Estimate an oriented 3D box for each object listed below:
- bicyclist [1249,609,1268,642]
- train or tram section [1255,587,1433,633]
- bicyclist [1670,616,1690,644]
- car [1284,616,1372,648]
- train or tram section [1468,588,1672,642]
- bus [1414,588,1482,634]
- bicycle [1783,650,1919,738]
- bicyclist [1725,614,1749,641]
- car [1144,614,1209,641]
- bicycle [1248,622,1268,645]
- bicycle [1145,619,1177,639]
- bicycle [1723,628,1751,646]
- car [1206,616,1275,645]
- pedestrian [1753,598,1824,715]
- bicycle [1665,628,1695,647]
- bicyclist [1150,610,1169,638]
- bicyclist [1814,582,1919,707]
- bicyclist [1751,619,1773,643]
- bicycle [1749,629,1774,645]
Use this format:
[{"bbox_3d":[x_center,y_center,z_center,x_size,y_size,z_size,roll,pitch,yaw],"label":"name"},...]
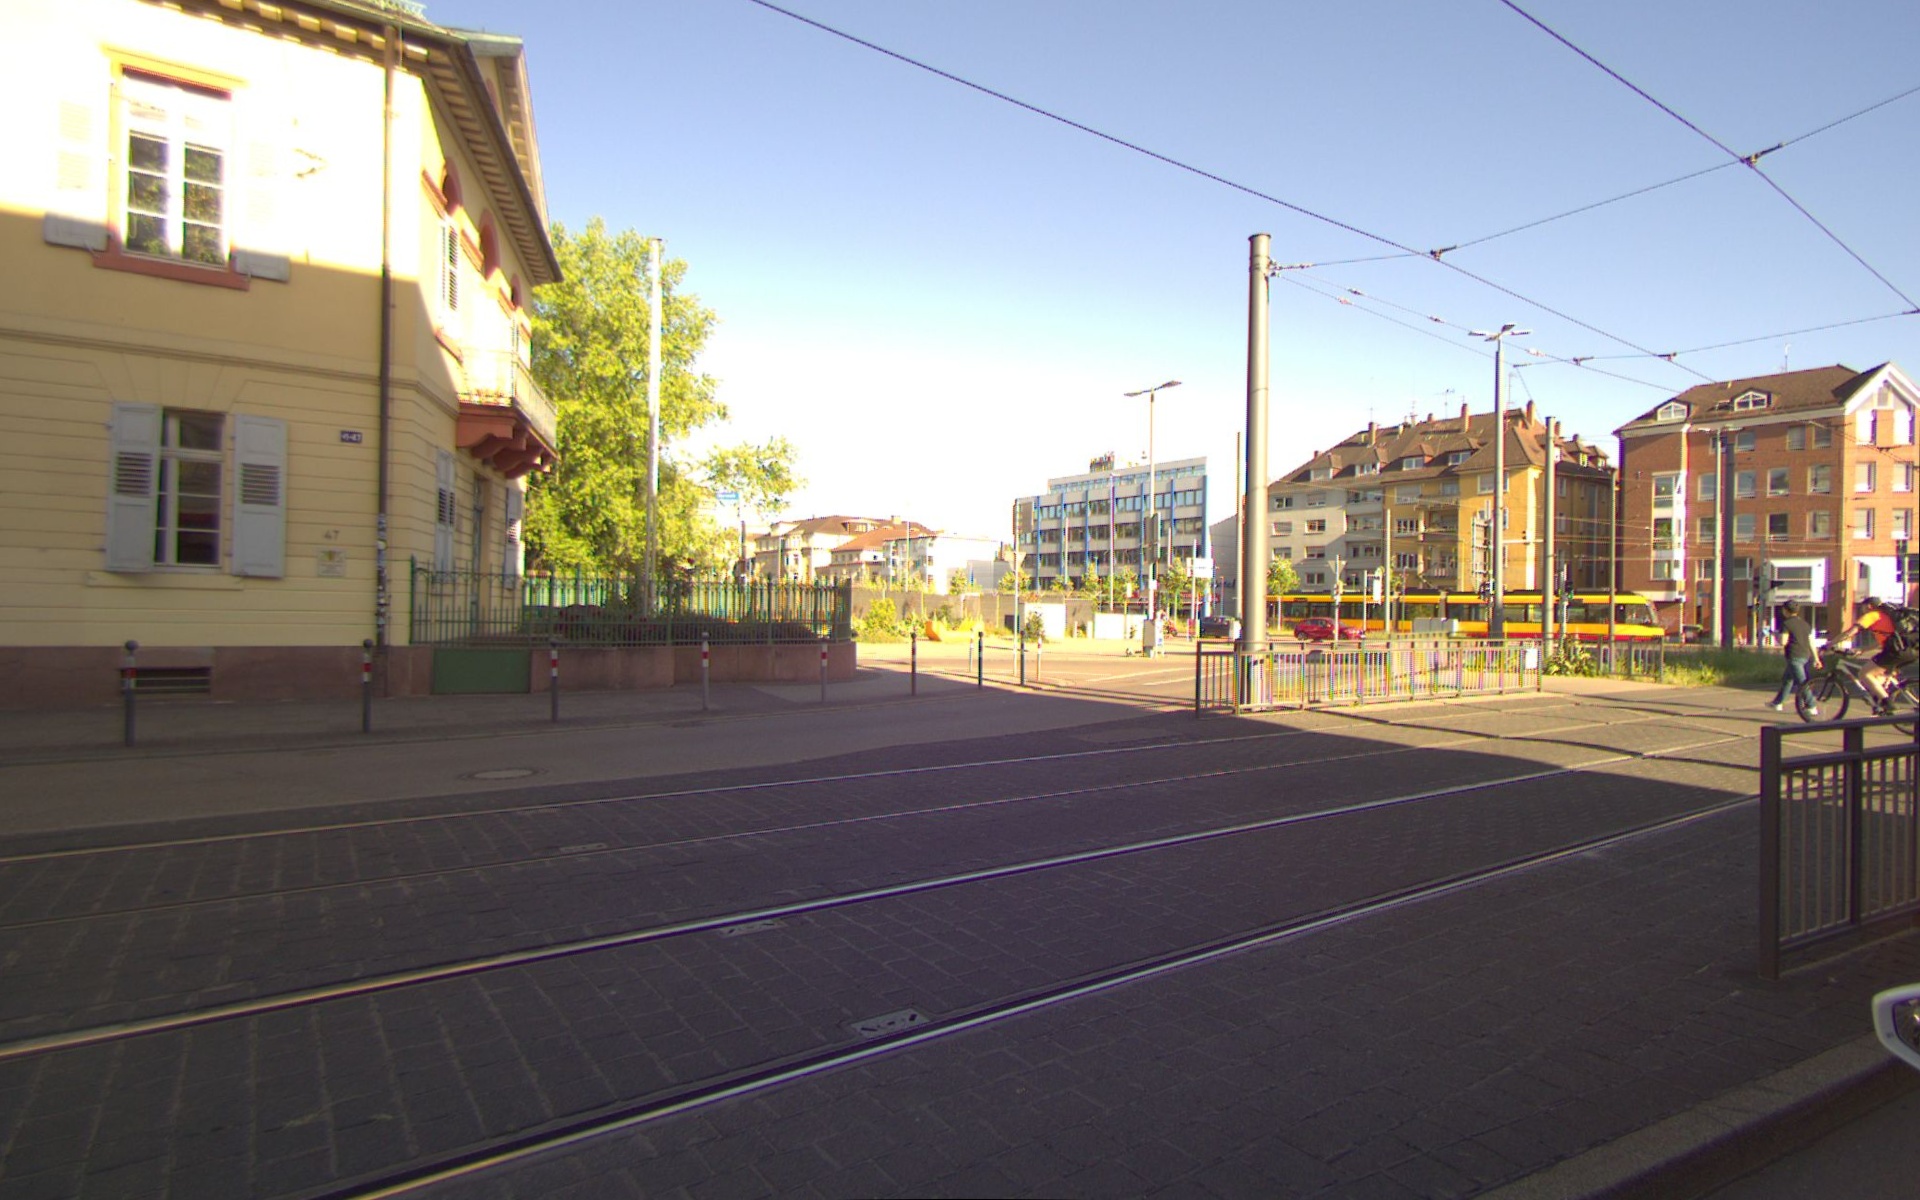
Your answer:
[{"bbox_3d":[16.695,1.413,56.138,0.744,1.783,0.753,2,0,-3],"label":"bicyclist"},{"bbox_3d":[29.537,0.671,78.319,2.709,3.172,13.571,2,0,-37],"label":"train or tram section"},{"bbox_3d":[39.696,1.643,55.362,0.688,1.523,0.630,2,0,-30],"label":"bicyclist"},{"bbox_3d":[21.882,1.884,59.902,1.984,1.723,4.545,2,0,-41],"label":"car"},{"bbox_3d":[39.858,0.919,66.105,11.111,3.172,2.788,1,0,44],"label":"train or tram section"},{"bbox_3d":[34.696,0.791,71.506,2.748,3.172,3.487,2,0,-40],"label":"bus"},{"bbox_3d":[11.656,1.186,12.952,0.398,1.007,1.592,2,0,-25],"label":"bicycle"},{"bbox_3d":[45.523,1.626,58.820,0.688,1.523,0.894,2,0,-30],"label":"bicyclist"},{"bbox_3d":[14.756,1.871,68.575,1.895,1.708,3.916,2,0,-41],"label":"car"},{"bbox_3d":[16.647,1.851,56.133,0.476,1.238,1.854,2,0,-3],"label":"bicycle"},{"bbox_3d":[13.415,1.947,67.042,0.542,1.230,2.168,2,0,-41],"label":"bicycle"},{"bbox_3d":[45.522,2.164,58.837,2.220,0.984,0.521,2,0,-31],"label":"bicycle"},{"bbox_3d":[18.016,1.941,64.584,1.762,1.694,3.955,2,0,-39],"label":"car"},{"bbox_3d":[12.549,0.839,15.210,0.766,1.703,0.587,2,0,-32],"label":"pedestrian"},{"bbox_3d":[39.689,2.060,55.348,2.220,0.984,0.444,2,0,-31],"label":"bicycle"},{"bbox_3d":[13.346,1.599,67.152,0.785,1.832,0.892,2,0,-42],"label":"bicyclist"},{"bbox_3d":[11.692,0.548,12.885,0.387,1.542,1.037,2,0,-26],"label":"bicyclist"},{"bbox_3d":[50.390,1.919,63.105,0.958,1.490,0.702,1,0,-22],"label":"bicyclist"},{"bbox_3d":[50.377,2.335,63.129,1.669,0.994,0.403,2,0,-22],"label":"bicycle"}]
